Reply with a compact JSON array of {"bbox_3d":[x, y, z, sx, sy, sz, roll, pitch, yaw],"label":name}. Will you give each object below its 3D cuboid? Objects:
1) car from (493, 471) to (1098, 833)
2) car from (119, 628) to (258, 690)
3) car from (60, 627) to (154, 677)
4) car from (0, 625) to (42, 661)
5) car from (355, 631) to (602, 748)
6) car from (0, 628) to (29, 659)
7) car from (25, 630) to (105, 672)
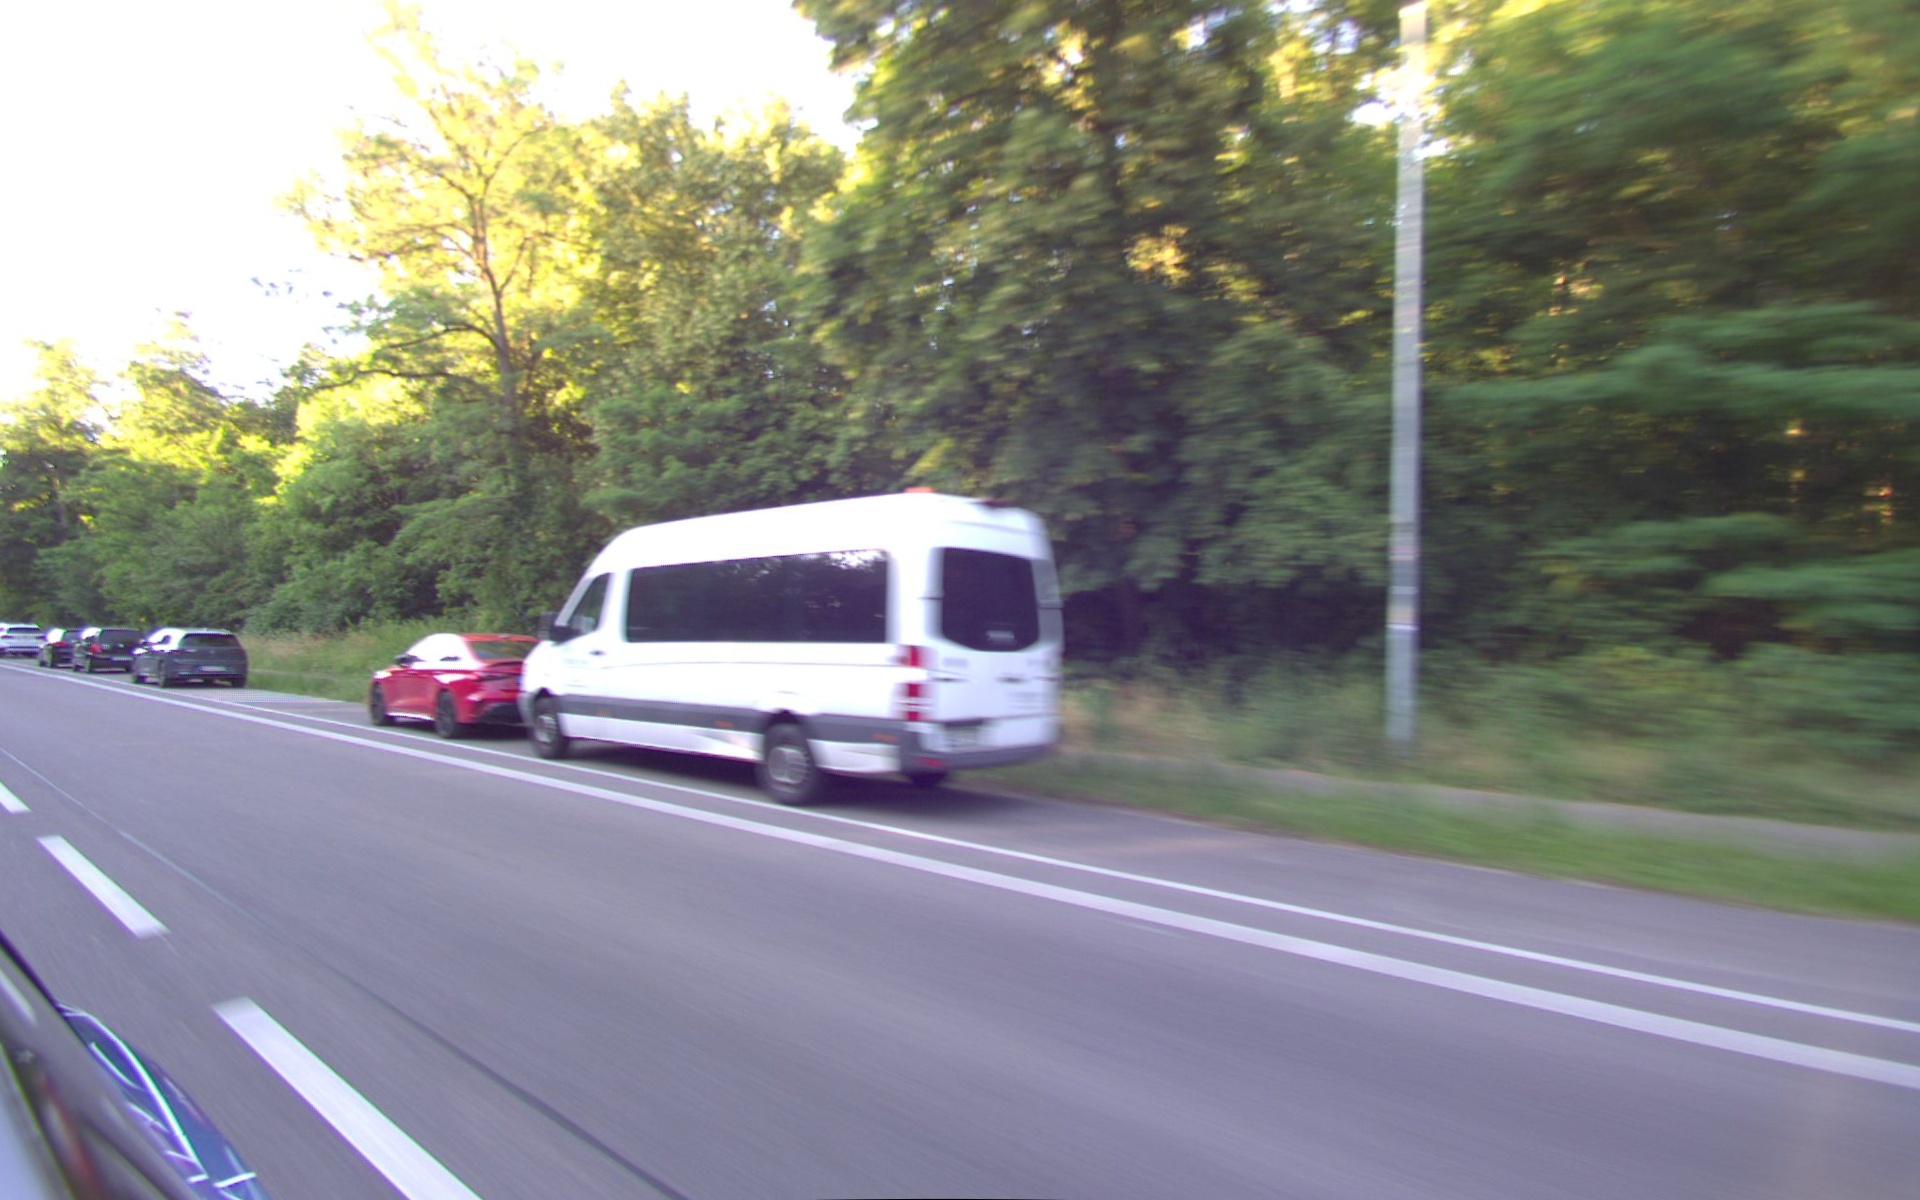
[{"bbox_3d":[-2.139,0.487,10.461,7.085,2.626,2.057,-1,-4,41],"label":"car"},{"bbox_3d":[-19.842,1.495,25.987,4.224,1.474,1.827,-2,-4,39],"label":"car"},{"bbox_3d":[-27.508,1.657,32.622,3.654,1.520,1.694,-2,-4,41],"label":"car"},{"bbox_3d":[-45.121,2.034,47.972,4.568,1.658,1.678,-2,-3,39],"label":"car"},{"bbox_3d":[-7.119,1.191,14.750,4.387,1.441,1.697,-1,-3,42],"label":"car"},{"bbox_3d":[-49.075,2.230,51.711,3.732,1.532,1.655,-2,-3,39],"label":"car"},{"bbox_3d":[-32.277,1.806,36.466,4.049,1.405,1.581,-2,-3,41],"label":"car"}]
